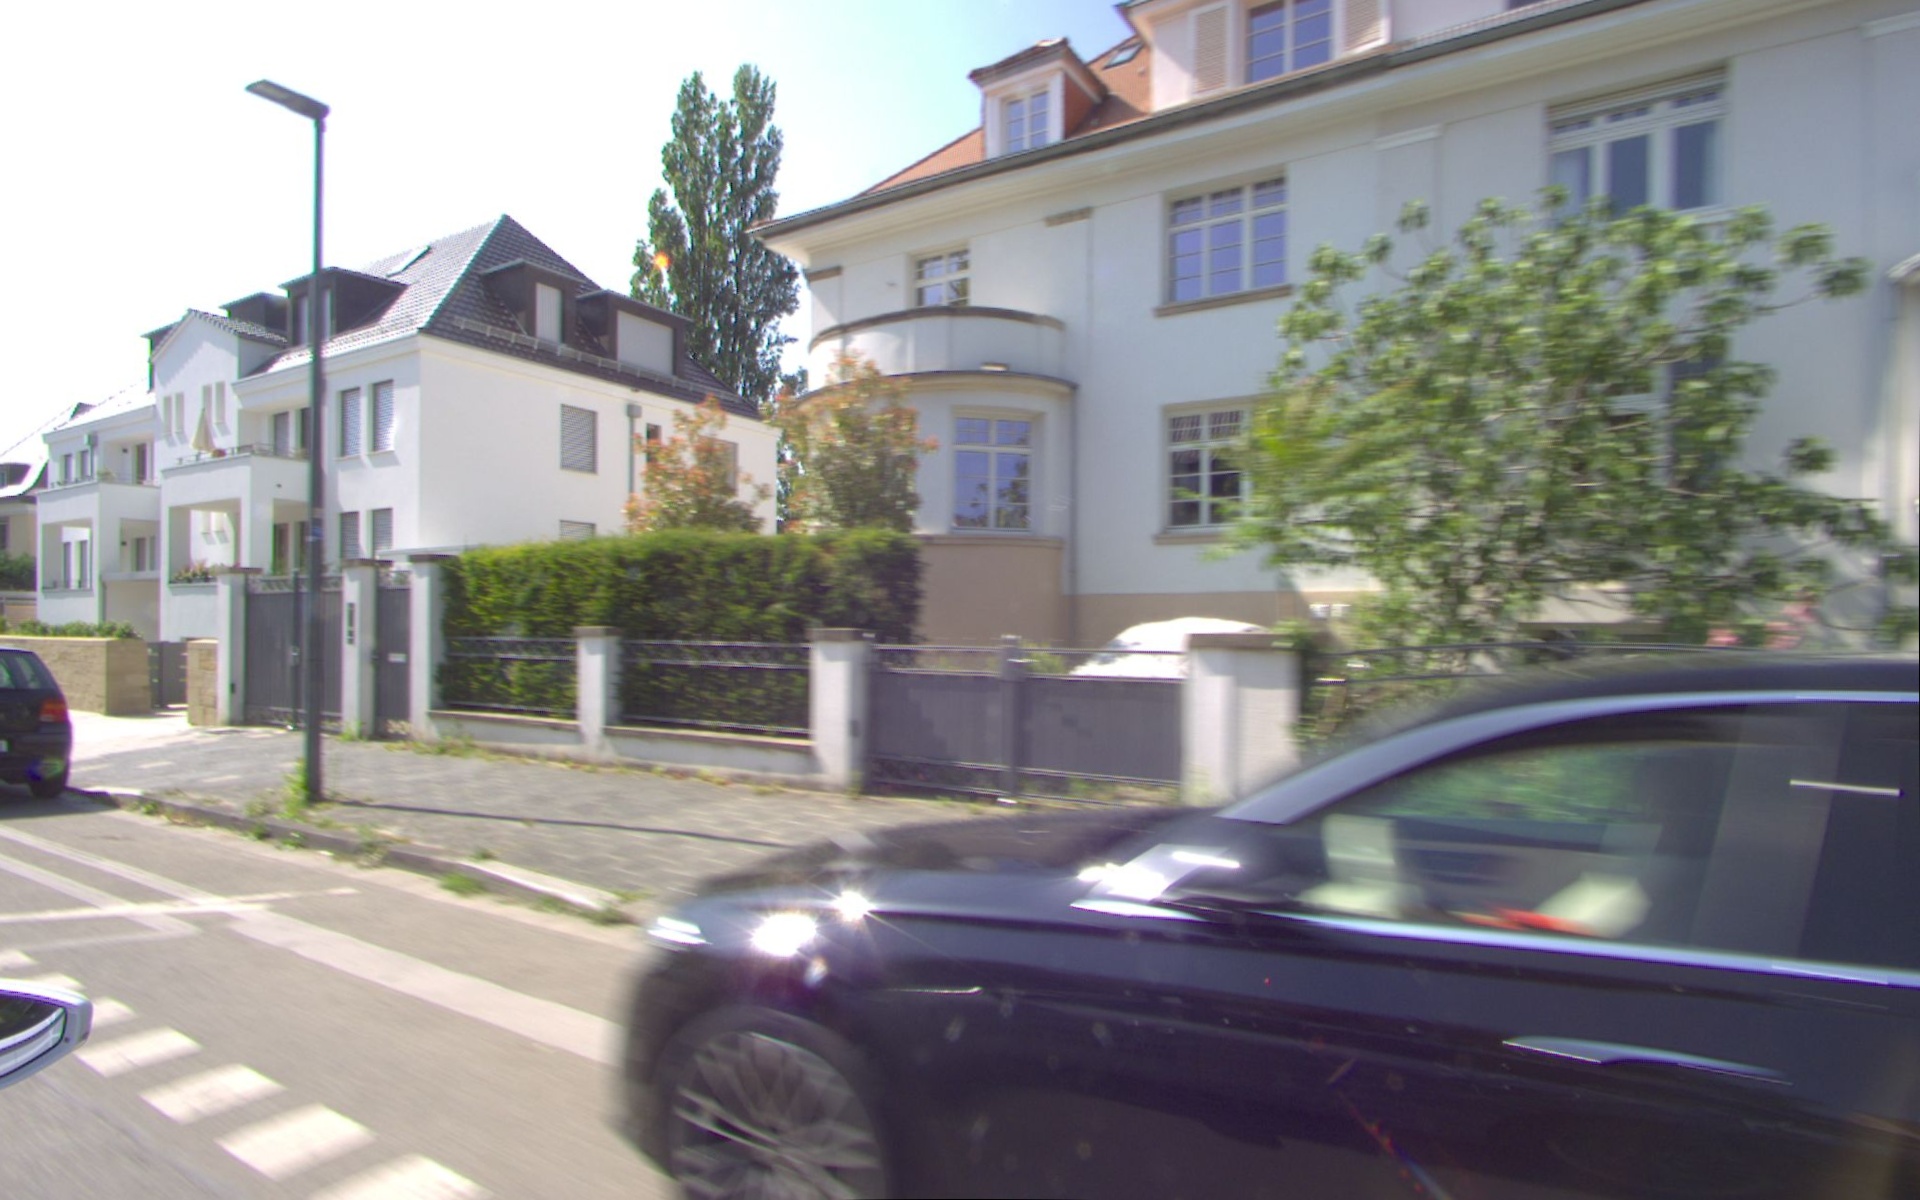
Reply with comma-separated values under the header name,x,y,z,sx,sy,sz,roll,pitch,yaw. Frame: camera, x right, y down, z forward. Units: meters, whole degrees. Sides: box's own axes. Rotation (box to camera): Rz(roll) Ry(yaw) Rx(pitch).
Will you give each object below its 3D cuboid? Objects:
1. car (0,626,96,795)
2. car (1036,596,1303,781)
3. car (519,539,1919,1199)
name,x,y,z,sx,sy,sz,roll,pitch,yaw
car,-10.145,0.977,9.620,3.942,1.466,1.618,-1,-5,32
car,2.477,0.923,10.943,1.676,1.602,4.162,0,-4,29
car,1.402,0.783,2.138,4.826,1.602,1.696,0,-4,29
